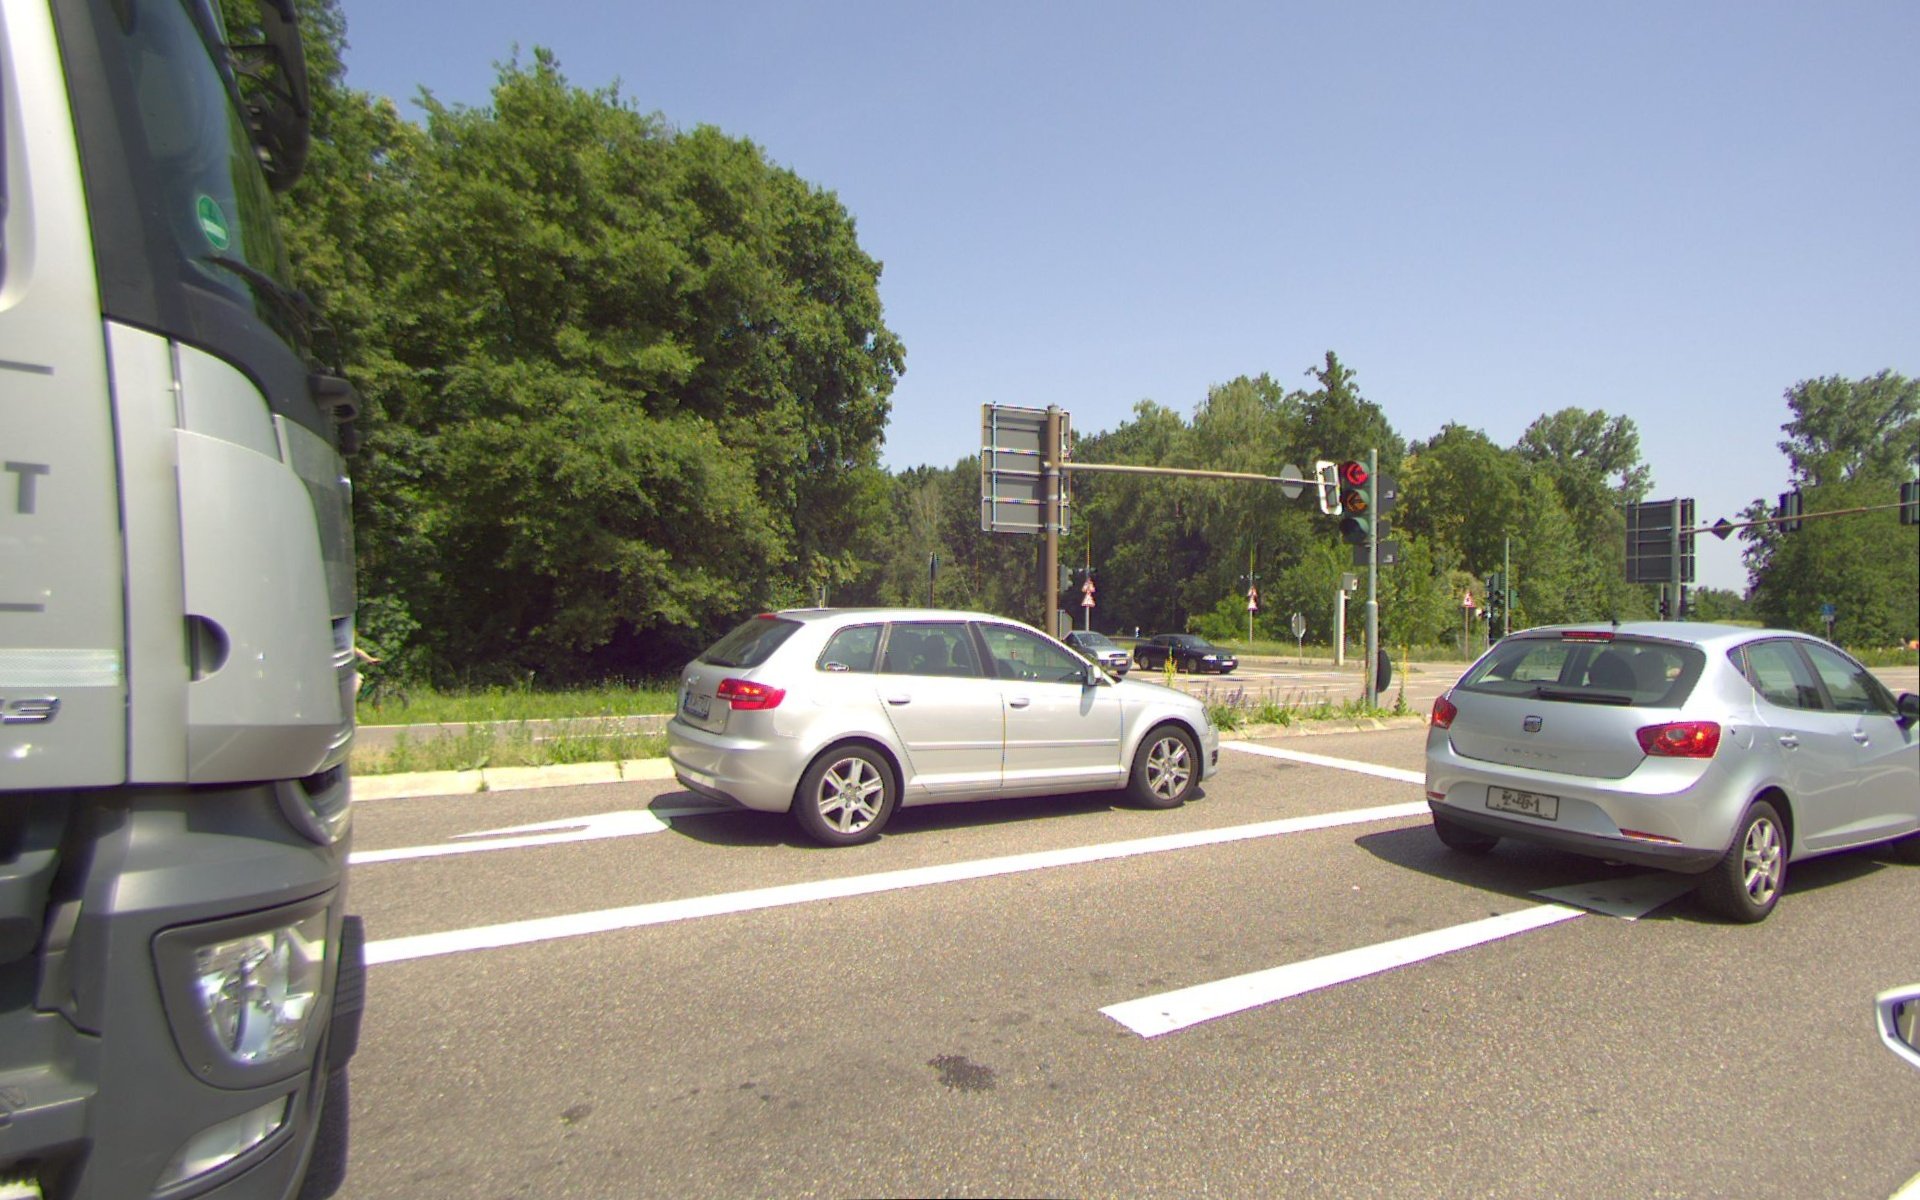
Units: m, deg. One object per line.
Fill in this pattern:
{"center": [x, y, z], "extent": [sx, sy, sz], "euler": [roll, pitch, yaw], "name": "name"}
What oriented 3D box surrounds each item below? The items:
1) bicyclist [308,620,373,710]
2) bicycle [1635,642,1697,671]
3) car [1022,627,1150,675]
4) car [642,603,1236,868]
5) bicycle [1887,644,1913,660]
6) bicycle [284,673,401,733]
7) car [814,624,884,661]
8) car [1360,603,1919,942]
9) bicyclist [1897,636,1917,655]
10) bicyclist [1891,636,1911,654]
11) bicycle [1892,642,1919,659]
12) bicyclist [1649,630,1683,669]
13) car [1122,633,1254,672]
{"center": [-10.446, 1.083, 16.959], "extent": [0.798, 1.484, 0.658], "euler": [1, -1, -21], "name": "bicyclist"}
{"center": [27.309, 2.186, 38.867], "extent": [1.831, 1.077, 0.725], "euler": [0, -1, 7], "name": "bicycle"}
{"center": [4.429, 1.755, 35.936], "extent": [2.105, 1.588, 4.782], "euler": [1, -2, -30], "name": "car"}
{"center": [-0.057, 0.770, 7.265], "extent": [3.971, 1.410, 1.755], "euler": [1, 0, -33], "name": "car"}
{"center": [61.660, 3.427, 65.908], "extent": [1.531, 1.019, 0.604], "euler": [1, -2, -20], "name": "bicycle"}
{"center": [-10.401, 1.719, 16.978], "extent": [1.581, 0.935, 0.564], "euler": [1, -1, -21], "name": "bicycle"}
{"center": [-6.008, 2.241, 53.824], "extent": [1.977, 1.923, 4.782], "euler": [1, -2, -30], "name": "car"}
{"center": [4.366, 0.792, 6.053], "extent": [3.783, 1.449, 1.657], "euler": [1, 0, -30], "name": "car"}
{"center": [60.558, 2.898, 64.246], "extent": [0.583, 1.211, 0.756], "euler": [1, -2, -20], "name": "bicyclist"}
{"center": [61.731, 2.944, 65.908], "extent": [0.583, 1.211, 0.735], "euler": [1, -2, -19], "name": "bicyclist"}
{"center": [60.524, 3.219, 64.224], "extent": [1.773, 1.018, 0.675], "euler": [1, -2, -21], "name": "bicycle"}
{"center": [27.336, 1.905, 38.897], "extent": [0.701, 1.479, 0.927], "euler": [0, -1, 7], "name": "bicyclist"}
{"center": [8.261, 1.872, 36.907], "extent": [2.081, 1.307, 4.783], "euler": [1, -2, -30], "name": "car"}
